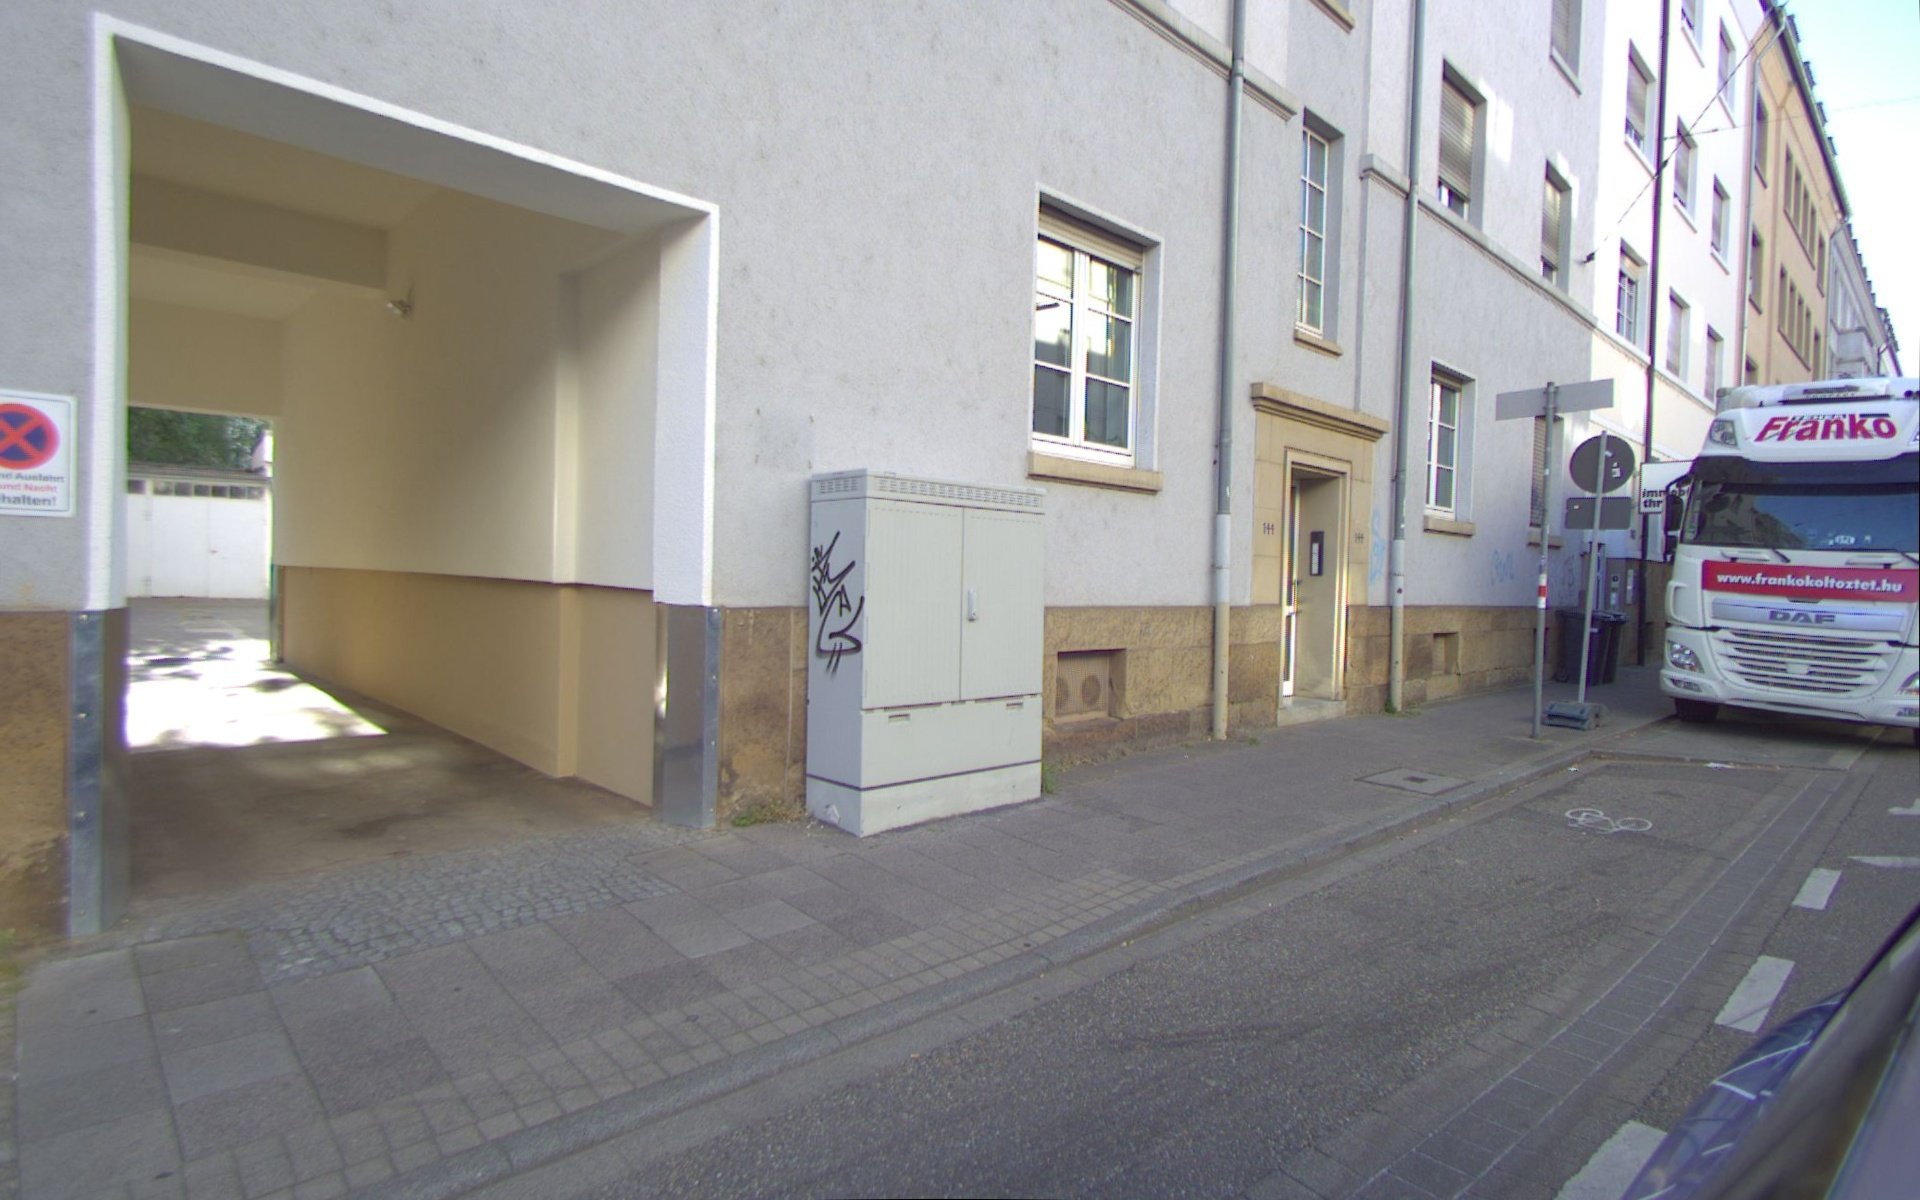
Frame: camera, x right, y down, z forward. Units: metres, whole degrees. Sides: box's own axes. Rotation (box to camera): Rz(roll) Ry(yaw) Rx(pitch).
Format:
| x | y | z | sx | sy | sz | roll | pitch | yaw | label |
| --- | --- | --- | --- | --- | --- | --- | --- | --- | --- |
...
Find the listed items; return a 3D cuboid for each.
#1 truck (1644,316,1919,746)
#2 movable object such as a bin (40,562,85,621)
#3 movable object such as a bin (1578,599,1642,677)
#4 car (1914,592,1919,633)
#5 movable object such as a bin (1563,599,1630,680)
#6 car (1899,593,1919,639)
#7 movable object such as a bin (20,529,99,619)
| x | y | z | sx | sy | sz | roll | pitch | yaw | label |
| --- | --- | --- | --- | --- | --- | --- | --- | --- | --- |
| 12.581 | -0.673 | 13.883 | 11.621 | 3.975 | 2.778 | 0 | 2 | -44 | truck |
| -14.371 | -0.139 | 16.200 | 0.518 | 0.922 | 0.580 | 0 | 2 | -43 | movable object such as a bin |
| 9.656 | 0.549 | 15.040 | 0.560 | 1.107 | 0.665 | 0 | 2 | -43 | movable object such as a bin |
| 37.680 | 0.470 | 38.633 | 4.080 | 1.551 | 1.681 | 0 | 0 | -44 | car |
| 9.177 | 0.558 | 14.589 | 0.560 | 1.107 | 0.665 | 0 | 2 | -43 | movable object such as a bin |
| 33.510 | 0.537 | 34.736 | 4.080 | 1.551 | 1.681 | 0 | 0 | -44 | car |
| -15.148 | -0.445 | 17.018 | 0.946 | 1.426 | 1.597 | 0 | 2 | -43 | movable object such as a bin |
